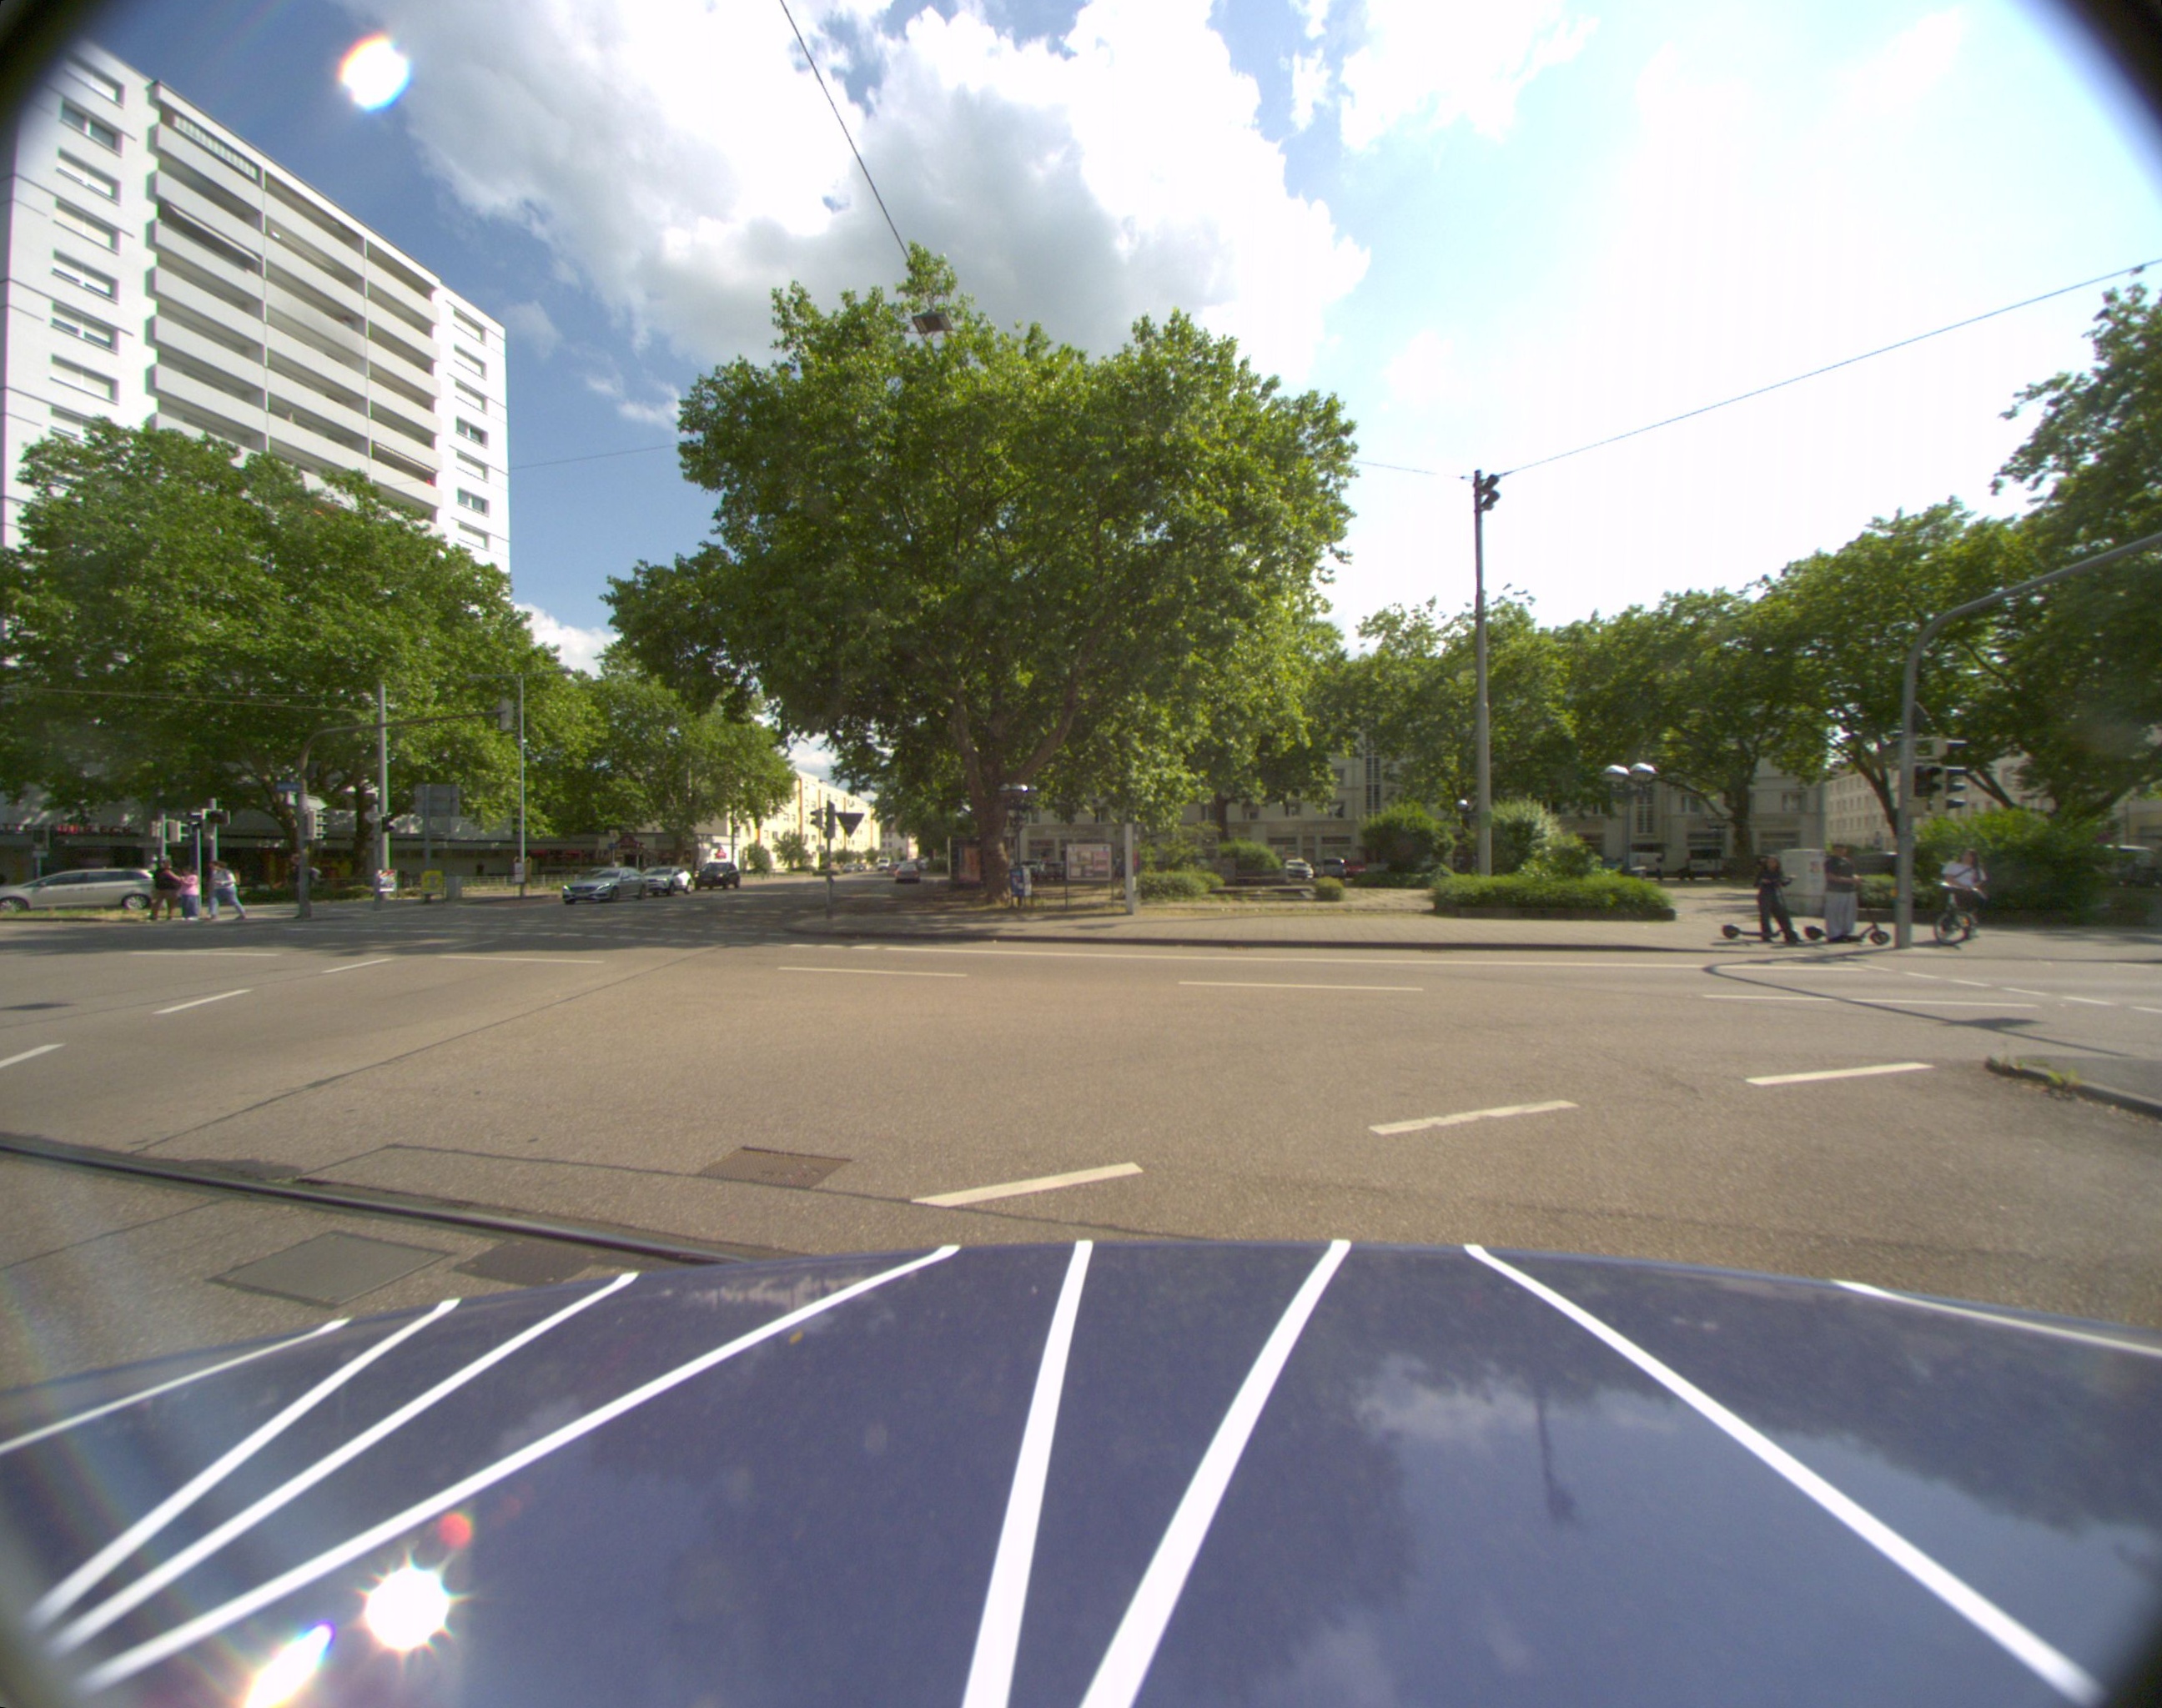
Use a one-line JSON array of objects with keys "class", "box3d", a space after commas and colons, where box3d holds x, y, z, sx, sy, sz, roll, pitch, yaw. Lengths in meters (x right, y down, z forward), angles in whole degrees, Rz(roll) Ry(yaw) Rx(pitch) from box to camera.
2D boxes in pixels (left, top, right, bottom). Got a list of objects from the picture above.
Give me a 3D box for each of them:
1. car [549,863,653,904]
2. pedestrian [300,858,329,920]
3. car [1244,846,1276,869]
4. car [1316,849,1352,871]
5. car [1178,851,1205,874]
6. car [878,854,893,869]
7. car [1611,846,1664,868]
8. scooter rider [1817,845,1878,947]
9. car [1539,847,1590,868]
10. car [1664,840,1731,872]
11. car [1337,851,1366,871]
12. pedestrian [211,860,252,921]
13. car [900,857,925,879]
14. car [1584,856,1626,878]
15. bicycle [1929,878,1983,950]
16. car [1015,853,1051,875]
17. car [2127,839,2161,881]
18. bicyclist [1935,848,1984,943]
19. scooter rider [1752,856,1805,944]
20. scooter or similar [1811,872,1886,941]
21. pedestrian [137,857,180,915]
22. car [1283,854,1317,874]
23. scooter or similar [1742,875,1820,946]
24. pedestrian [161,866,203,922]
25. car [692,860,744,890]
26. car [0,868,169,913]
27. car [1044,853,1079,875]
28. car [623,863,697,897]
[{"class": "car", "box3d": [-19.617, 1.166, 31.273, 1.860, 1.481, 3.998, -1, 0, -3]}, {"class": "pedestrian", "box3d": [-22.865, 1.024, 22.678, 0.482, 1.814, 0.555, -1, 1, -34]}, {"class": "car", "box3d": [13.273, 0.233, 56.457, 1.997, 1.674, 4.002, 0, 1, 9]}, {"class": "car", "box3d": [18.425, 0.441, 55.541, 1.866, 1.509, 3.946, 0, 1, 9]}, {"class": "car", "box3d": [8.382, 0.621, 57.371, 1.849, 1.650, 4.086, 0, 1, 10]}, {"class": "car", "box3d": [-23.223, 0.847, 90.126, 1.584, 1.709, 3.994, -1, 1, -15]}, {"class": "car", "box3d": [43.983, 0.204, 60.163, 1.848, 1.650, 4.087, 0, 1, 11]}, {"class": "scooter rider", "box3d": [13.948, 0.739, 13.838, 0.677, 1.800, 0.546, 1, 3, 39]}, {"class": "car", "box3d": [38.772, 0.241, 61.064, 2.079, 1.650, 4.087, 0, 1, 11]}, {"class": "car", "box3d": [40.031, 0.182, 49.470, 2.250, 2.001, 3.941, -1, -2, 21]}, {"class": "car", "box3d": [23.169, 0.550, 65.226, 1.848, 1.650, 4.087, 0, 1, 12]}, {"class": "pedestrian", "box3d": [-24.655, 1.045, 22.064, 0.556, 1.725, 0.528, -1, 1, -8]}, {"class": "car", "box3d": [-12.884, 1.066, 58.315, 1.691, 1.493, 3.995, -1, 1, -10]}, {"class": "car", "box3d": [41.563, 1.045, 60.345, 1.929, 1.657, 3.743, -1, -2, 21]}, {"class": "bicycle", "box3d": [15.605, 1.038, 13.541, 1.634, 1.106, 0.506, -4, 4, -37]}, {"class": "car", "box3d": [-3.760, 0.763, 60.552, 1.848, 1.650, 4.087, 0, 1, 12]}, {"class": "car", "box3d": [51.270, 0.270, 34.234, 4.674, 1.922, 2.003, 0, -2, 12]}, {"class": "bicyclist", "box3d": [15.945, 0.732, 13.790, 0.584, 1.659, 0.506, -4, 4, -37]}, {"class": "scooter rider", "box3d": [12.932, 0.849, 14.099, 0.545, 1.585, 0.437, -1, 3, -9]}, {"class": "scooter or similar", "box3d": [13.959, 0.928, 13.840, 0.874, 1.165, 0.546, 1, 3, 39]}, {"class": "pedestrian", "box3d": [-26.693, 0.914, 21.990, 0.556, 1.661, 0.511, -1, 1, -8]}, {"class": "car", "box3d": [15.926, 0.700, 55.434, 1.866, 1.346, 3.946, 0, 1, 9]}, {"class": "scooter or similar", "box3d": [12.940, 1.021, 14.070, 0.545, 1.219, 0.875, -1, 3, -9]}, {"class": "pedestrian", "box3d": [-26.118, 1.157, 22.083, 0.556, 1.588, 0.511, -1, 1, -8]}, {"class": "car", "box3d": [-21.905, 1.235, 45.999, 1.691, 1.610, 3.996, -1, 1, -9]}, {"class": "car", "box3d": [-37.381, 1.315, 28.536, 1.856, 1.481, 3.857, 0, 1, 44]}, {"class": "car", "box3d": [-1.508, 0.748, 60.153, 1.848, 1.650, 4.087, 0, 1, 12]}, {"class": "car", "box3d": [-20.736, 1.257, 37.623, 1.861, 1.481, 4.072, -1, 0, -8]}]
